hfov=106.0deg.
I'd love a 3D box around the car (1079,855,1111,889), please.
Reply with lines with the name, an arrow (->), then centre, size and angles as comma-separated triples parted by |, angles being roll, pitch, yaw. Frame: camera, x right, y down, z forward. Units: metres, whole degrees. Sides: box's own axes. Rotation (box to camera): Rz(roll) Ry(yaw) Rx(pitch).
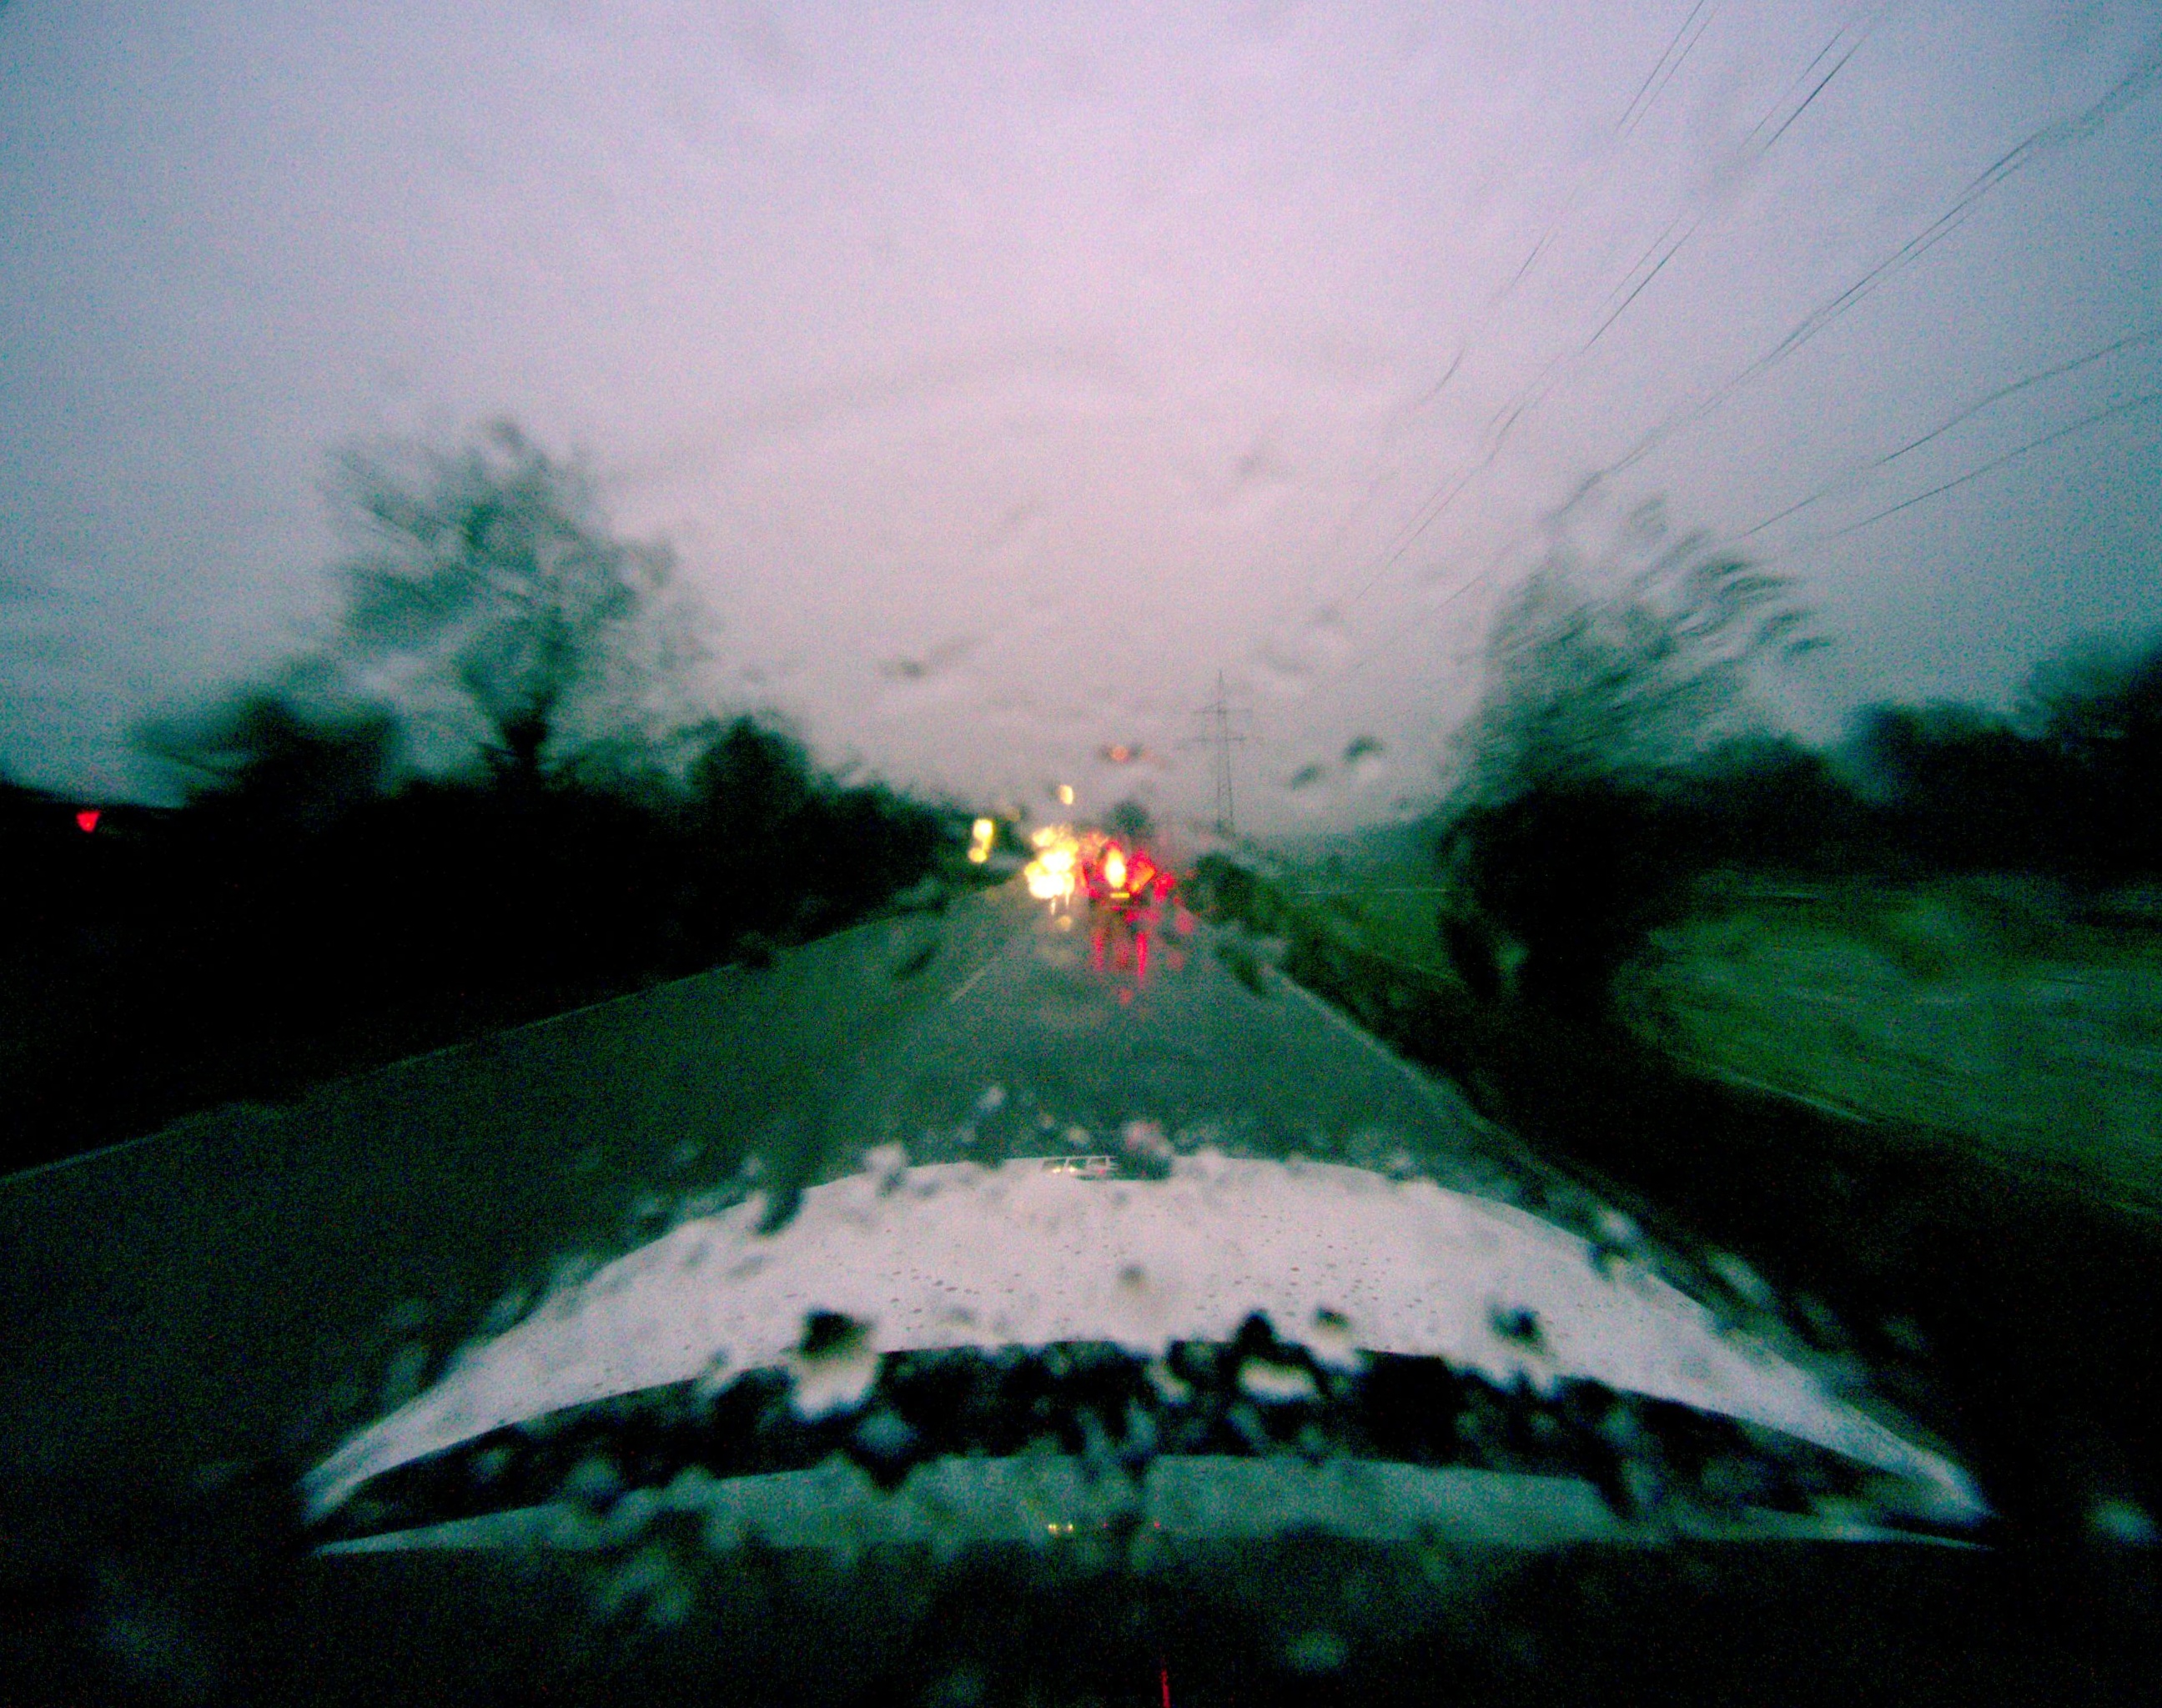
car -> 0.865, 1.061, 49.398 | 1.845, 2.014, 4.001 | -1, 0, 1

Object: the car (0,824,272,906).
car -> -26.072, 0.287, 22.586 | 1.985, 2.014, 5.109 | -1, 0, 4

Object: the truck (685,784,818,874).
truck -> -25.753, -1.692, 65.246 | 3.749, 6.288, 15.745 | -1, 0, 2

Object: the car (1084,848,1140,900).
car -> 0.874, 0.553, 23.609 | 1.495, 1.398, 3.200 | -1, 0, 1

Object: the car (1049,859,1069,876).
car -> -2.061, 1.260, 78.876 | 1.682, 1.507, 4.414 | -1, 0, 1

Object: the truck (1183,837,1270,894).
truck -> 7.367, 0.562, 42.869 | 2.496, 2.571, 10.801 | -1, 0, -1
